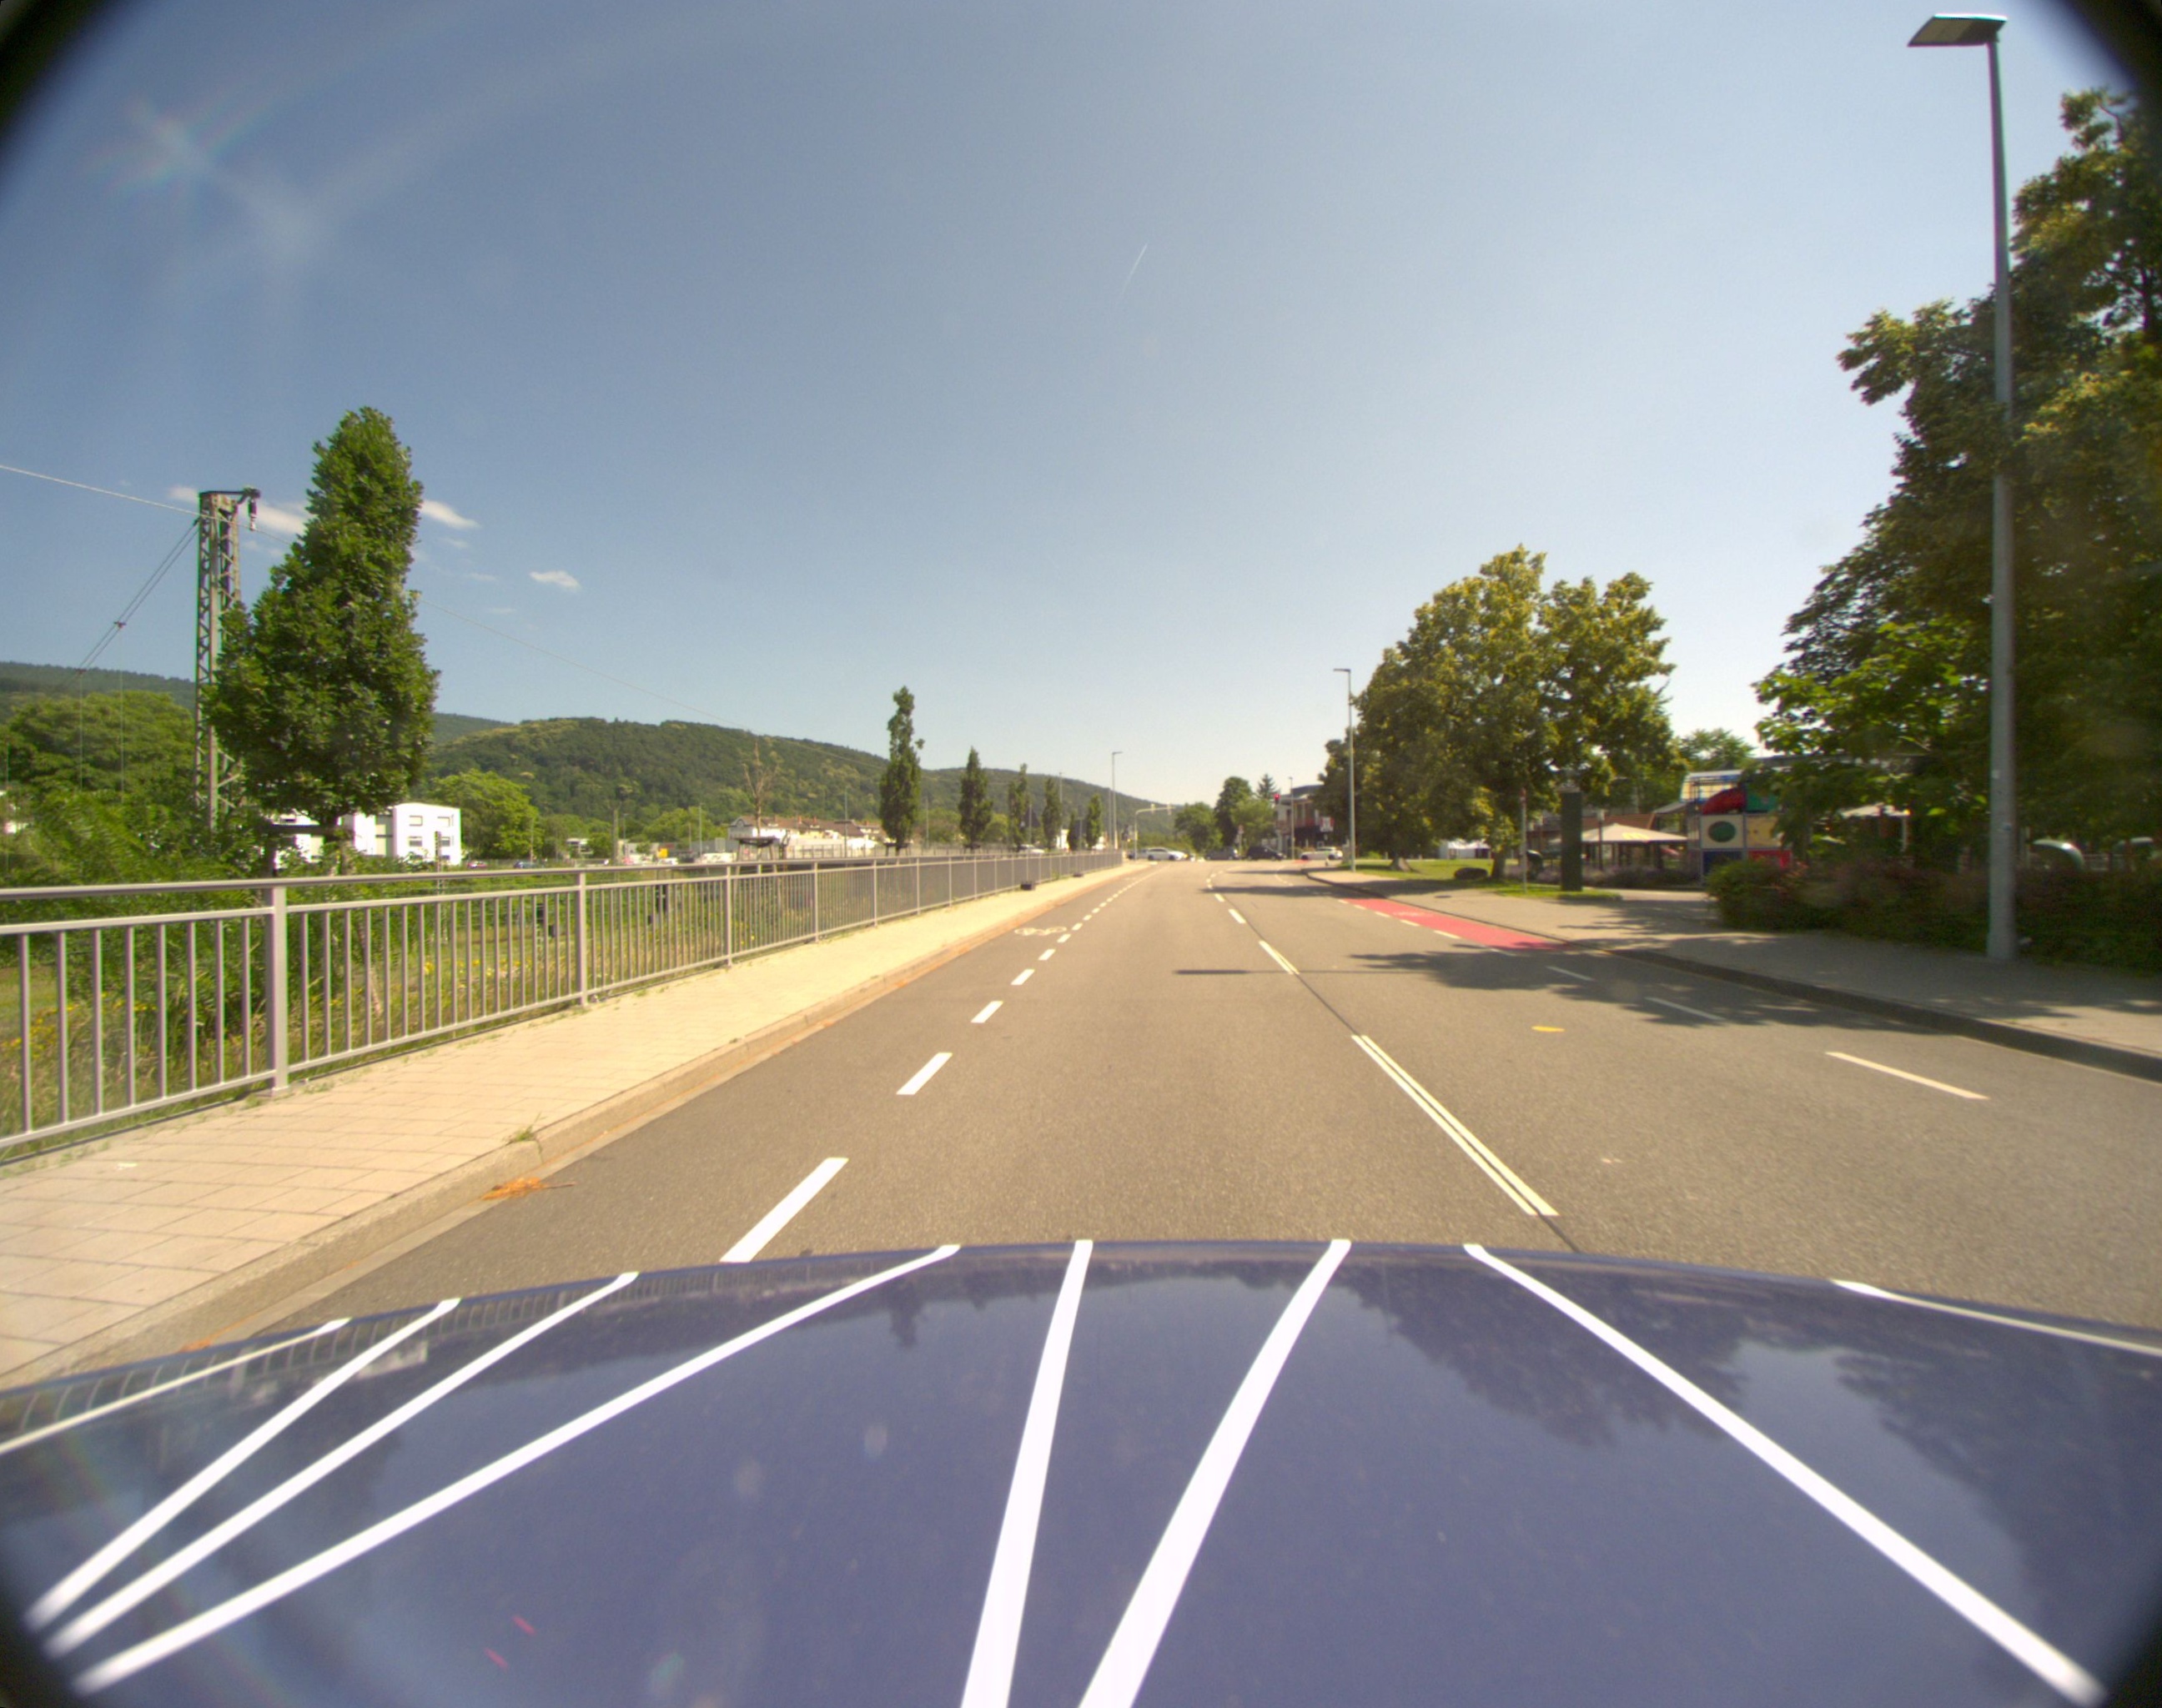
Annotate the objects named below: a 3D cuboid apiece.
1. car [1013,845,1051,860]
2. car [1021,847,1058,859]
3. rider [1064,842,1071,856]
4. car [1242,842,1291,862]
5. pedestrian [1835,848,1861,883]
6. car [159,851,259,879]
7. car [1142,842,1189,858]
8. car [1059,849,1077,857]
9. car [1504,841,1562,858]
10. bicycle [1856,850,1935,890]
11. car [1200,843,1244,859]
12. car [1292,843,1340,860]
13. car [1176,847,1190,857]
[{"bbox_3d":[-6.070,-0.193,93.571,4.568,1.643,1.834,0,4,37],"label":"car"},{"bbox_3d":[-5.337,-0.109,97.750,4.358,1.483,1.834,0,4,34],"label":"car"},{"bbox_3d":[-1.779,-0.596,98.855,0.684,1.804,0.549,0,4,33],"label":"rider"},{"bbox_3d":[18.548,-0.168,75.941,4.358,1.839,1.834,0,4,36],"label":"car"},{"bbox_3d":[28.427,0.418,28.166,0.551,1.203,0.593,-6,1,40],"label":"pedestrian"},{"bbox_3d":[-80.540,0.987,70.334,2.131,2.090,5.524,-5,1,17],"label":"car"},{"bbox_3d":[9.223,-0.431,83.018,4.754,1.643,1.834,0,4,37],"label":"car"},{"bbox_3d":[-1.749,-0.109,98.841,2.376,0.897,0.576,0,4,33],"label":"car"},{"bbox_3d":[40.309,-0.412,67.772,4.358,1.339,1.834,0,4,34],"label":"car"},{"bbox_3d":[25.302,0.516,23.628,1.608,1.180,0.310,-3,2,37],"label":"bicycle"},{"bbox_3d":[15.594,-0.323,83.875,4.358,1.618,1.834,0,4,34],"label":"car"},{"bbox_3d":[24.205,-0.242,78.382,4.358,1.618,1.834,0,4,34],"label":"car"},{"bbox_3d":[13.383,-0.231,99.878,1.609,1.248,3.683,-1,1,5],"label":"car"}]
